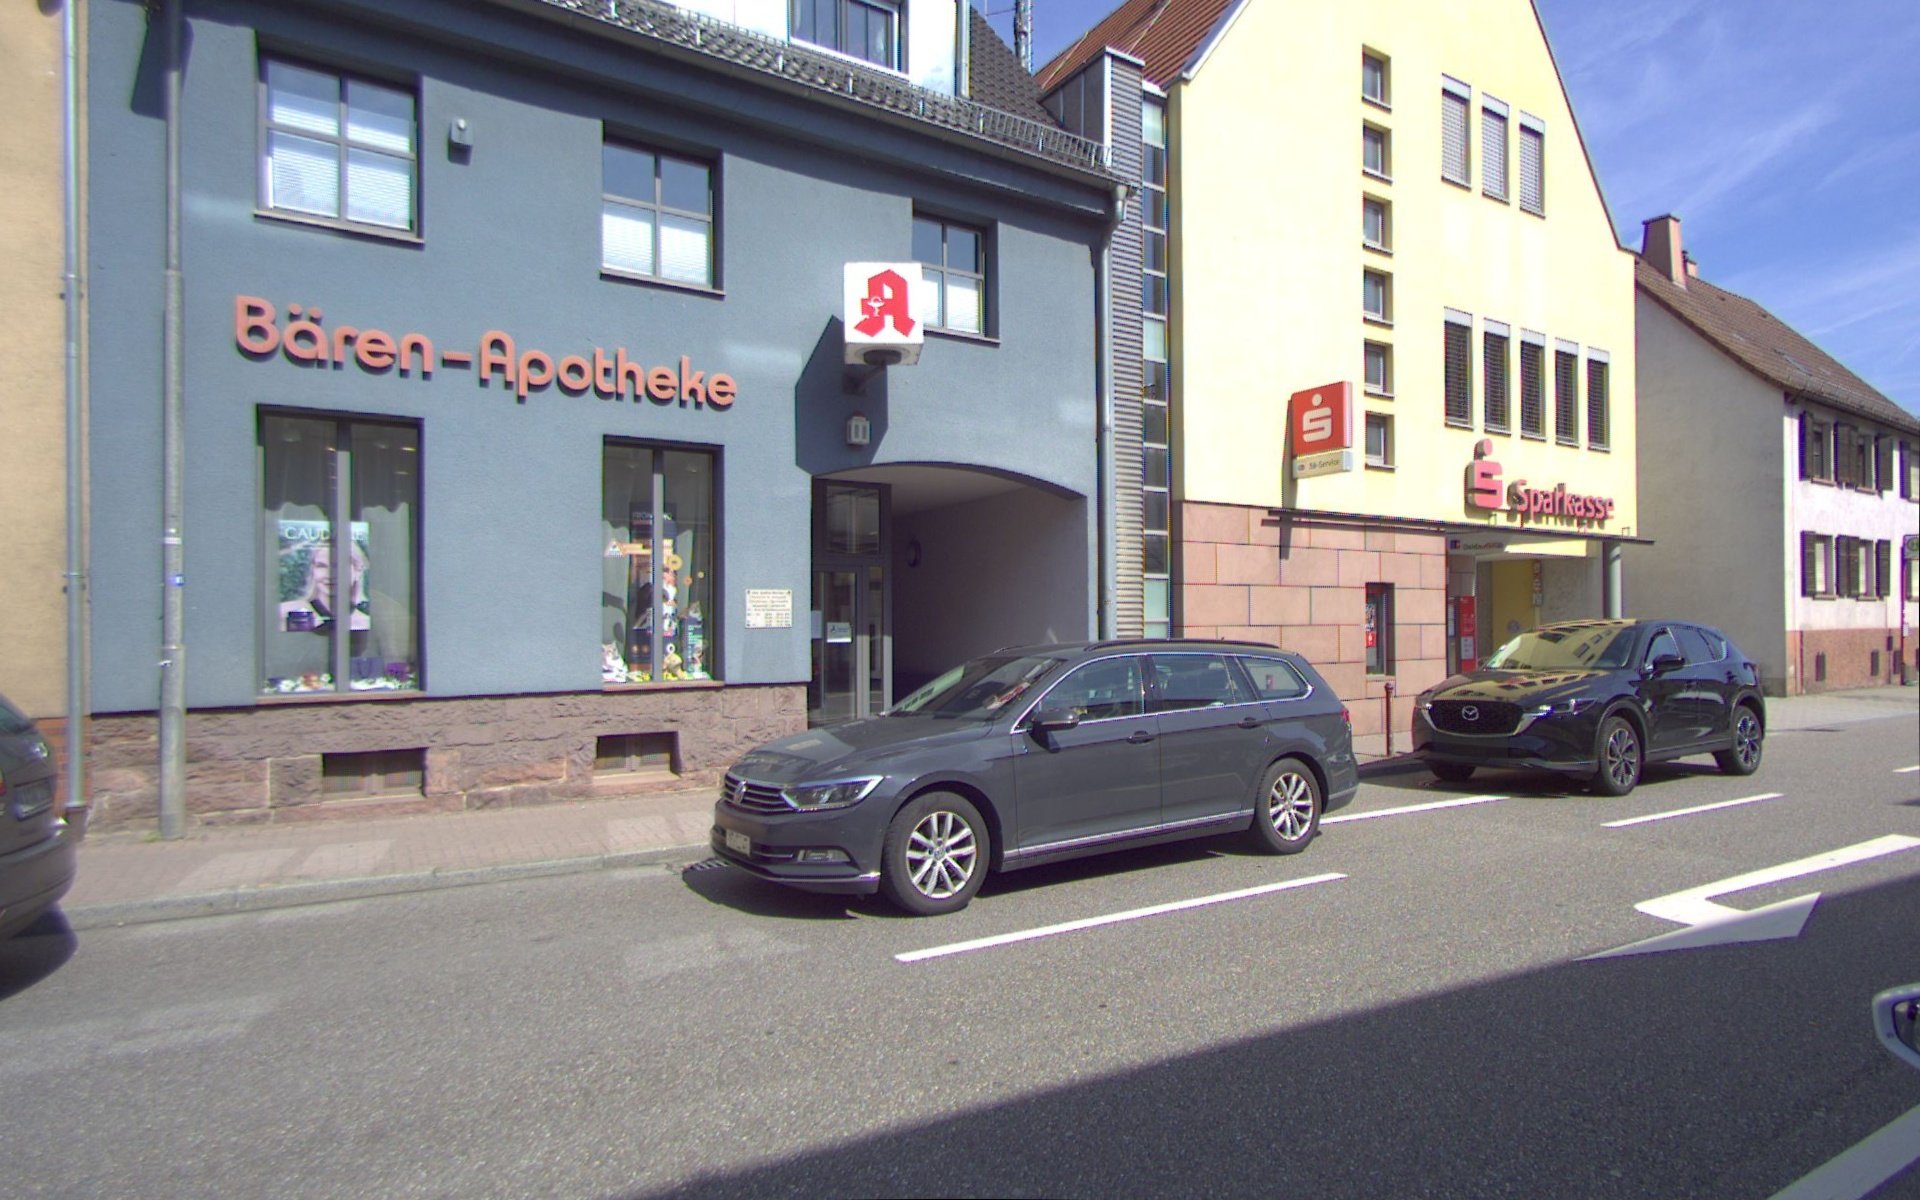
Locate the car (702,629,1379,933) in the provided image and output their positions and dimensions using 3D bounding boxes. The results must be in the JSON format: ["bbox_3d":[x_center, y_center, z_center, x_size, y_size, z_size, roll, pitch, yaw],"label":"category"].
[{"bbox_3d":[0.668,0.978,6.808,4.374,1.469,1.780,2,-4,-32],"label":"car"}]

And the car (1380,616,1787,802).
[{"bbox_3d":[6.712,1.048,10.710,4.467,1.610,1.858,2,-4,-32],"label":"car"}]

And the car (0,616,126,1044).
[{"bbox_3d":[-5.512,0.822,3.324,3.974,1.540,1.621,2,-4,-32],"label":"car"}]
